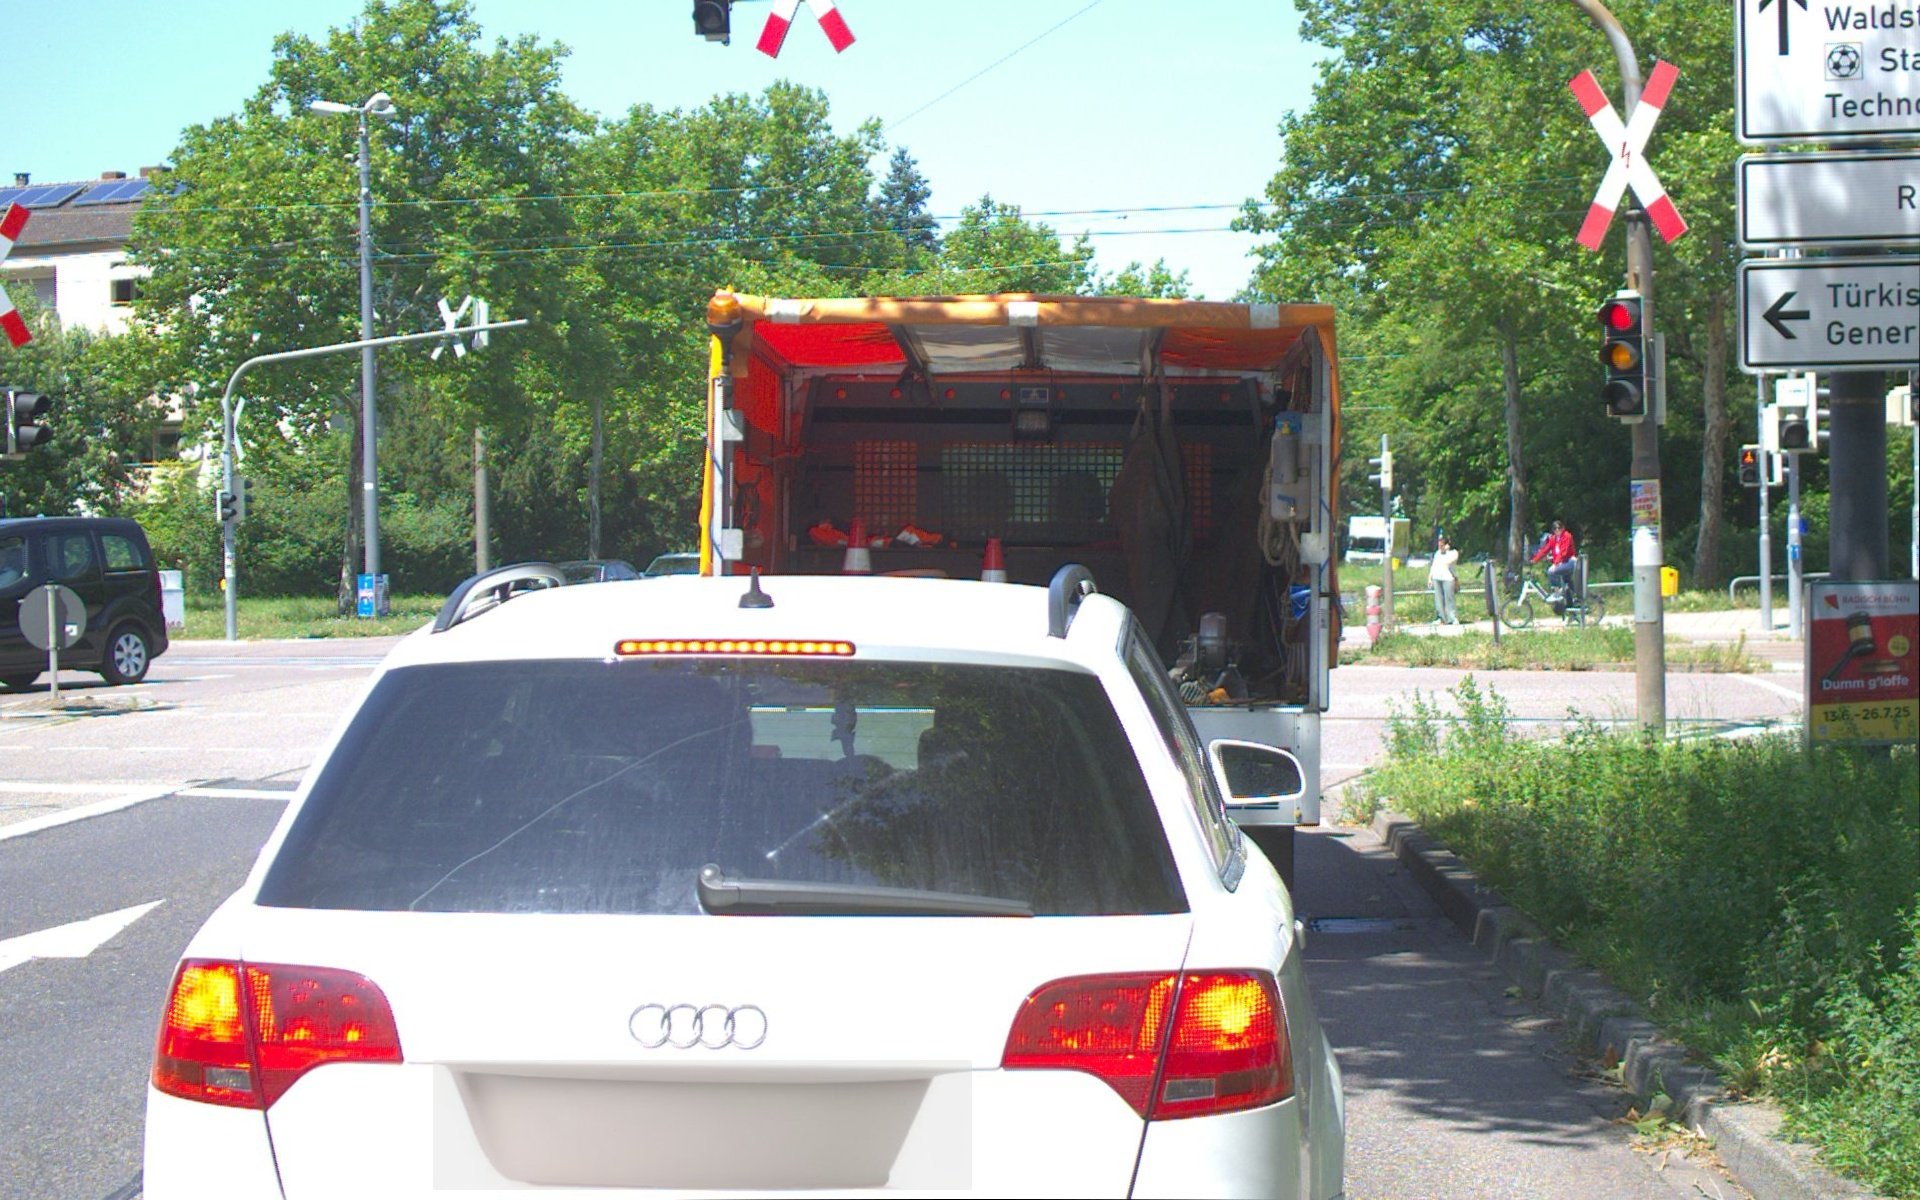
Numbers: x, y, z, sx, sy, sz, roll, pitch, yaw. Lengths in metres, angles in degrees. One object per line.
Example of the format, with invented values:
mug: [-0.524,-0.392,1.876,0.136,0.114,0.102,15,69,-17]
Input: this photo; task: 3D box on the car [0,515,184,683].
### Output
car: [-10.207,-0.016,35.032,1.915,1.673,4.436,0,1,32]

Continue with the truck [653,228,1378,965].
truck: [0.361,-0.061,15.866,2.511,2.551,7.603,1,1,3]

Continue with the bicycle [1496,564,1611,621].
bicycle: [9.627,-0.116,55.770,1.806,0.892,0.589,-1,1,8]

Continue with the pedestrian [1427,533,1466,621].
pedestrian: [8.268,-0.401,58.419,0.553,1.479,0.629,-1,1,16]

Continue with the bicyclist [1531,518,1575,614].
bicyclist: [9.623,-0.552,55.767,0.671,1.551,0.579,-1,1,8]

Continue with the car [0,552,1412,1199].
car: [-0.231,0.650,5.955,1.763,1.440,3.615,0,1,4]

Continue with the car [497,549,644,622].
car: [-8.269,-0.338,73.419,1.950,1.435,4.745,0,2,9]

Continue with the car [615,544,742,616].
car: [-6.580,-0.484,80.913,1.788,1.609,4.402,-1,1,12]

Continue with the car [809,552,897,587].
car: [-4.305,-1.248,139.210,1.884,1.388,3.994,0,1,26]

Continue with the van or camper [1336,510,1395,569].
van or camper: [23.600,-3.513,199.985,2.662,3.320,5.497,0,1,14]

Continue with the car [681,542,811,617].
car: [-4.578,-0.464,74.122,1.909,1.533,4.297,-1,1,8]
